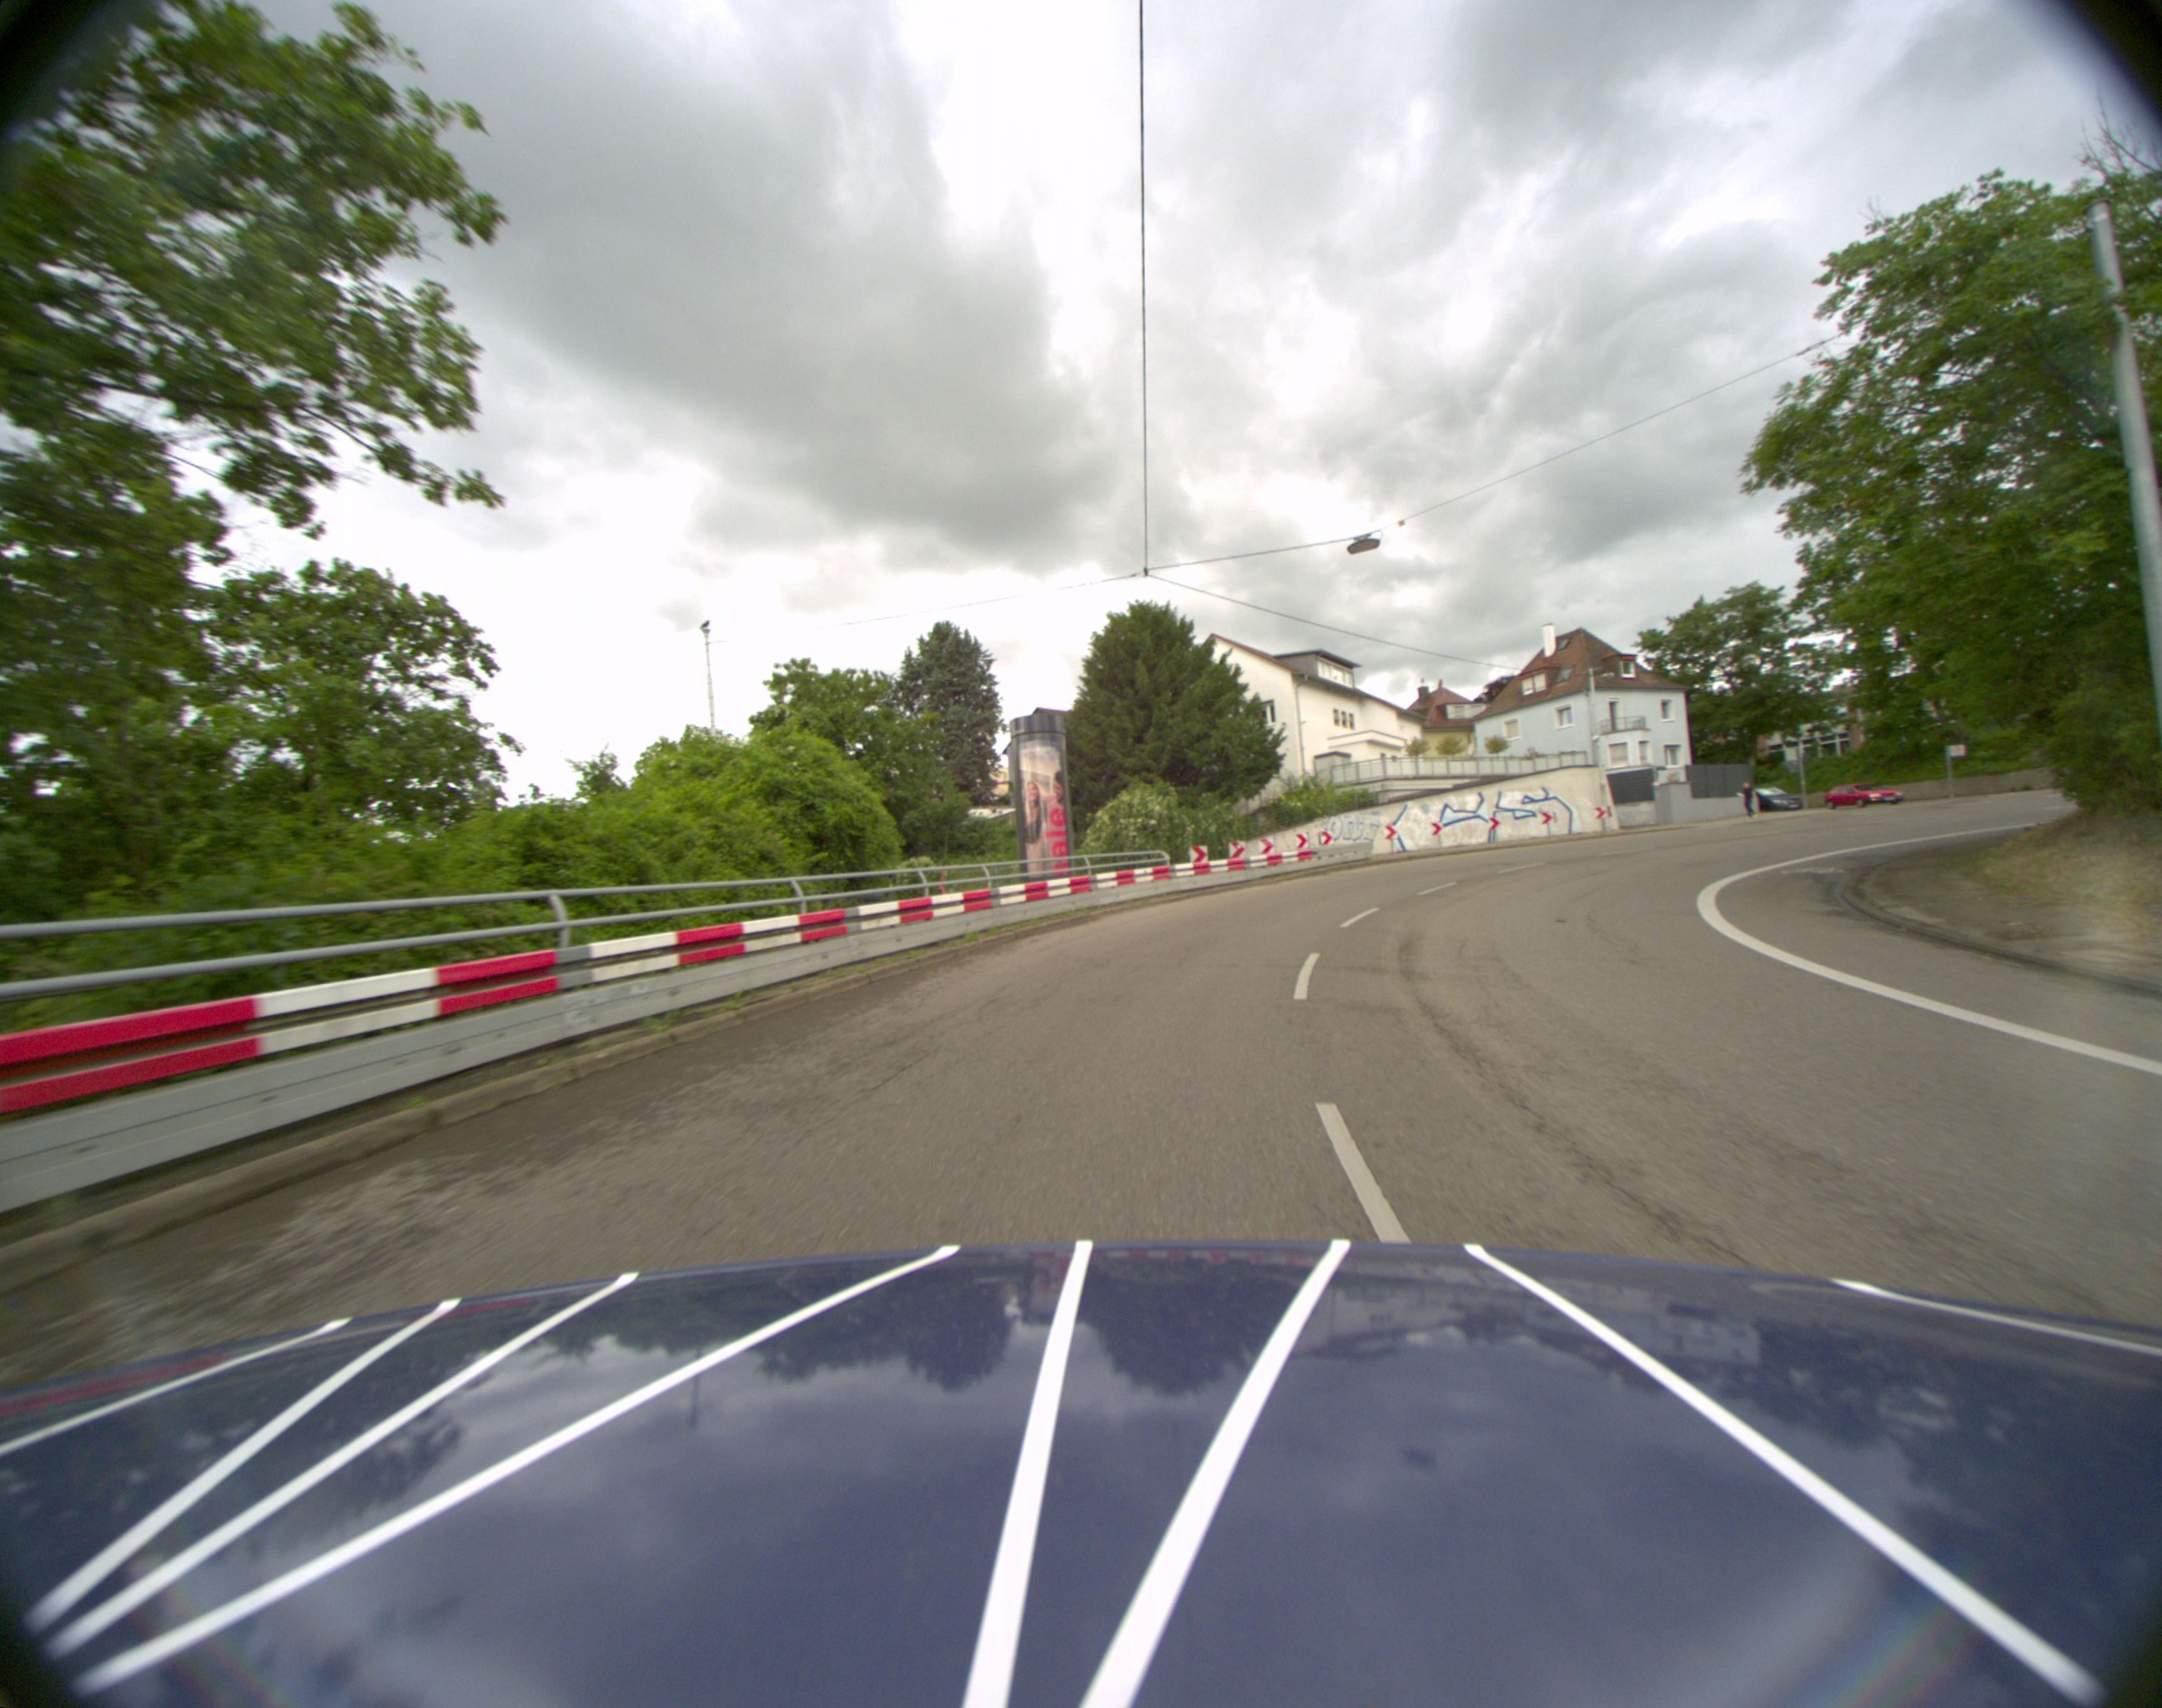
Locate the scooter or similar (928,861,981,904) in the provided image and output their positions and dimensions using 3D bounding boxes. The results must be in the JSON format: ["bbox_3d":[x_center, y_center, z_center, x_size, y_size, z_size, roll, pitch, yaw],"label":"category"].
[{"bbox_3d":[-4.018,0.911,24.105,1.499,1.243,0.437,-5,0,8],"label":"scooter or similar"}]

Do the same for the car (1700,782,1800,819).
[{"bbox_3d":[42.890,-3.389,48.883,1.950,1.853,4.840,-5,-1,-2],"label":"car"}]

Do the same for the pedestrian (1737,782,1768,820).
[{"bbox_3d":[34.165,-2.687,38.662,0.982,1.817,0.575,-5,1,25],"label":"pedestrian"}]

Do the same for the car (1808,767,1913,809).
[{"bbox_3d":[45.643,-3.805,44.662,1.948,1.853,4.845,-5,-1,15],"label":"car"}]
